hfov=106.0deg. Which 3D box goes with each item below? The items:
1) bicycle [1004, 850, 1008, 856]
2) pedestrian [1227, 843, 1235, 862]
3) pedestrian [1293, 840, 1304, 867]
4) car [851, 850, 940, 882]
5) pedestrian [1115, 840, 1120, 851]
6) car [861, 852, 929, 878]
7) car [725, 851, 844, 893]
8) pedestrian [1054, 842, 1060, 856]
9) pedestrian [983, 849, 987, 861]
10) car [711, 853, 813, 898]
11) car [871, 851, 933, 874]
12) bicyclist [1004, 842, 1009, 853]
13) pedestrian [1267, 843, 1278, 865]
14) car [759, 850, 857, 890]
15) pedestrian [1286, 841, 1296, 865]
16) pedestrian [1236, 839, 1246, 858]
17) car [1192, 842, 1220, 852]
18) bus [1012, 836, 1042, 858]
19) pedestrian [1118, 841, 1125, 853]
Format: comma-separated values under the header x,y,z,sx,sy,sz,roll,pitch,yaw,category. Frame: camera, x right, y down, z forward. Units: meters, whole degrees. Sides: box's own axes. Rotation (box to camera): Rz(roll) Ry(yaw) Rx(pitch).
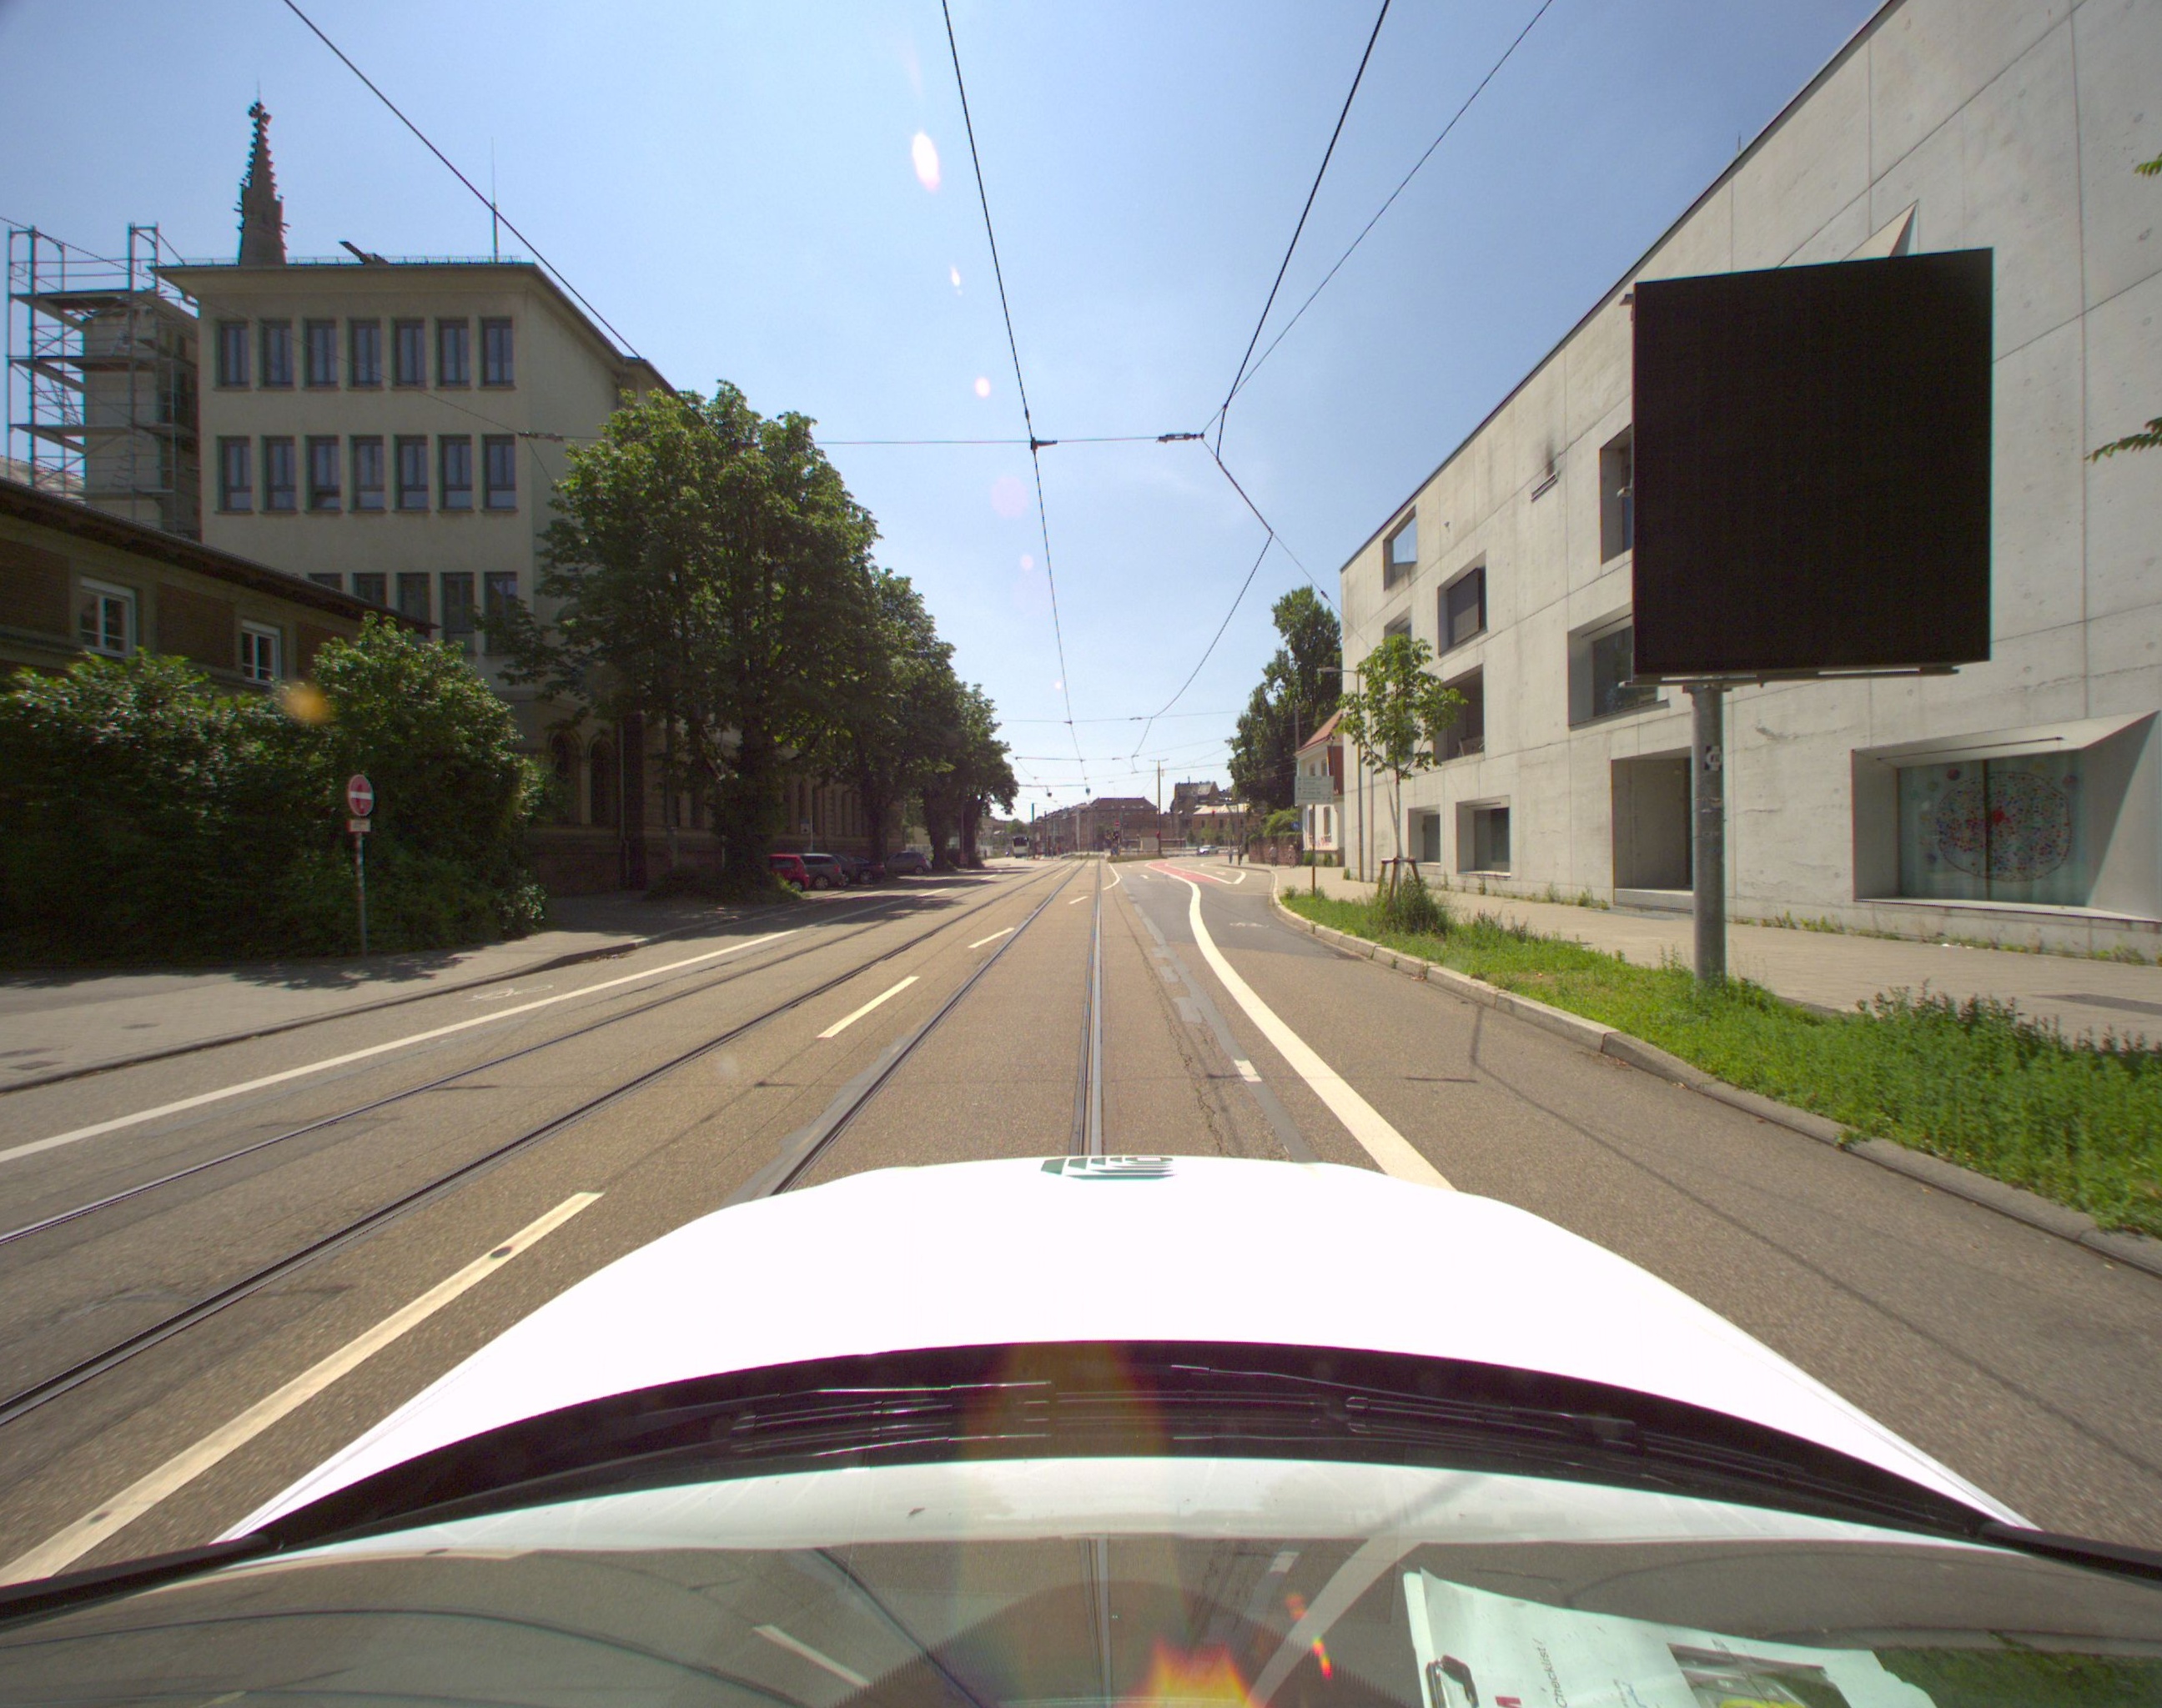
x,y,z,sx,sy,sz,roll,pitch,yaw,category
-12.656,-0.226,137.789,0.502,0.914,2.370,-1,1,0,bicycle
14.094,-0.162,76.530,0.674,1.808,0.749,-1,1,5,pedestrian
14.623,-0.047,54.724,0.622,1.772,0.721,-3,2,13,pedestrian
-9.023,0.541,39.679,3.940,1.374,1.656,-2,1,-25,car
5.352,-1.244,119.446,0.526,1.675,0.750,-1,0,-6,pedestrian
-11.249,0.630,49.266,3.685,1.520,1.655,0,0,-27,car
-11.912,0.684,32.820,4.333,1.584,1.654,0,0,-28,car
-3.420,-0.716,117.023,0.672,1.909,0.639,-1,1,-9,pedestrian
-13.910,0.158,118.441,0.565,1.705,0.397,-1,1,-6,pedestrian
-11.670,0.758,29.799,3.358,1.516,1.656,-1,1,-25,car
-11.494,0.541,52.299,3.557,1.406,1.687,-1,1,-27,car
-12.644,-1.101,137.799,0.818,1.709,0.770,-1,1,0,bicyclist
14.211,-0.003,60.367,0.657,1.647,0.625,-1,1,6,pedestrian
-11.941,0.658,35.656,3.828,1.577,1.777,-2,1,-28,car
13.959,-0.078,54.129,0.513,1.532,0.599,-1,1,6,pedestrian
14.984,-0.535,76.327,0.810,1.808,0.701,-1,1,5,pedestrian
18.020,-1.026,117.151,1.974,1.438,4.736,-1,0,35,car
-8.370,-1.160,129.059,2.999,3.157,17.507,-1,1,2,bus
6.220,-1.054,126.473,0.771,1.864,0.722,0,0,-40,pedestrian
